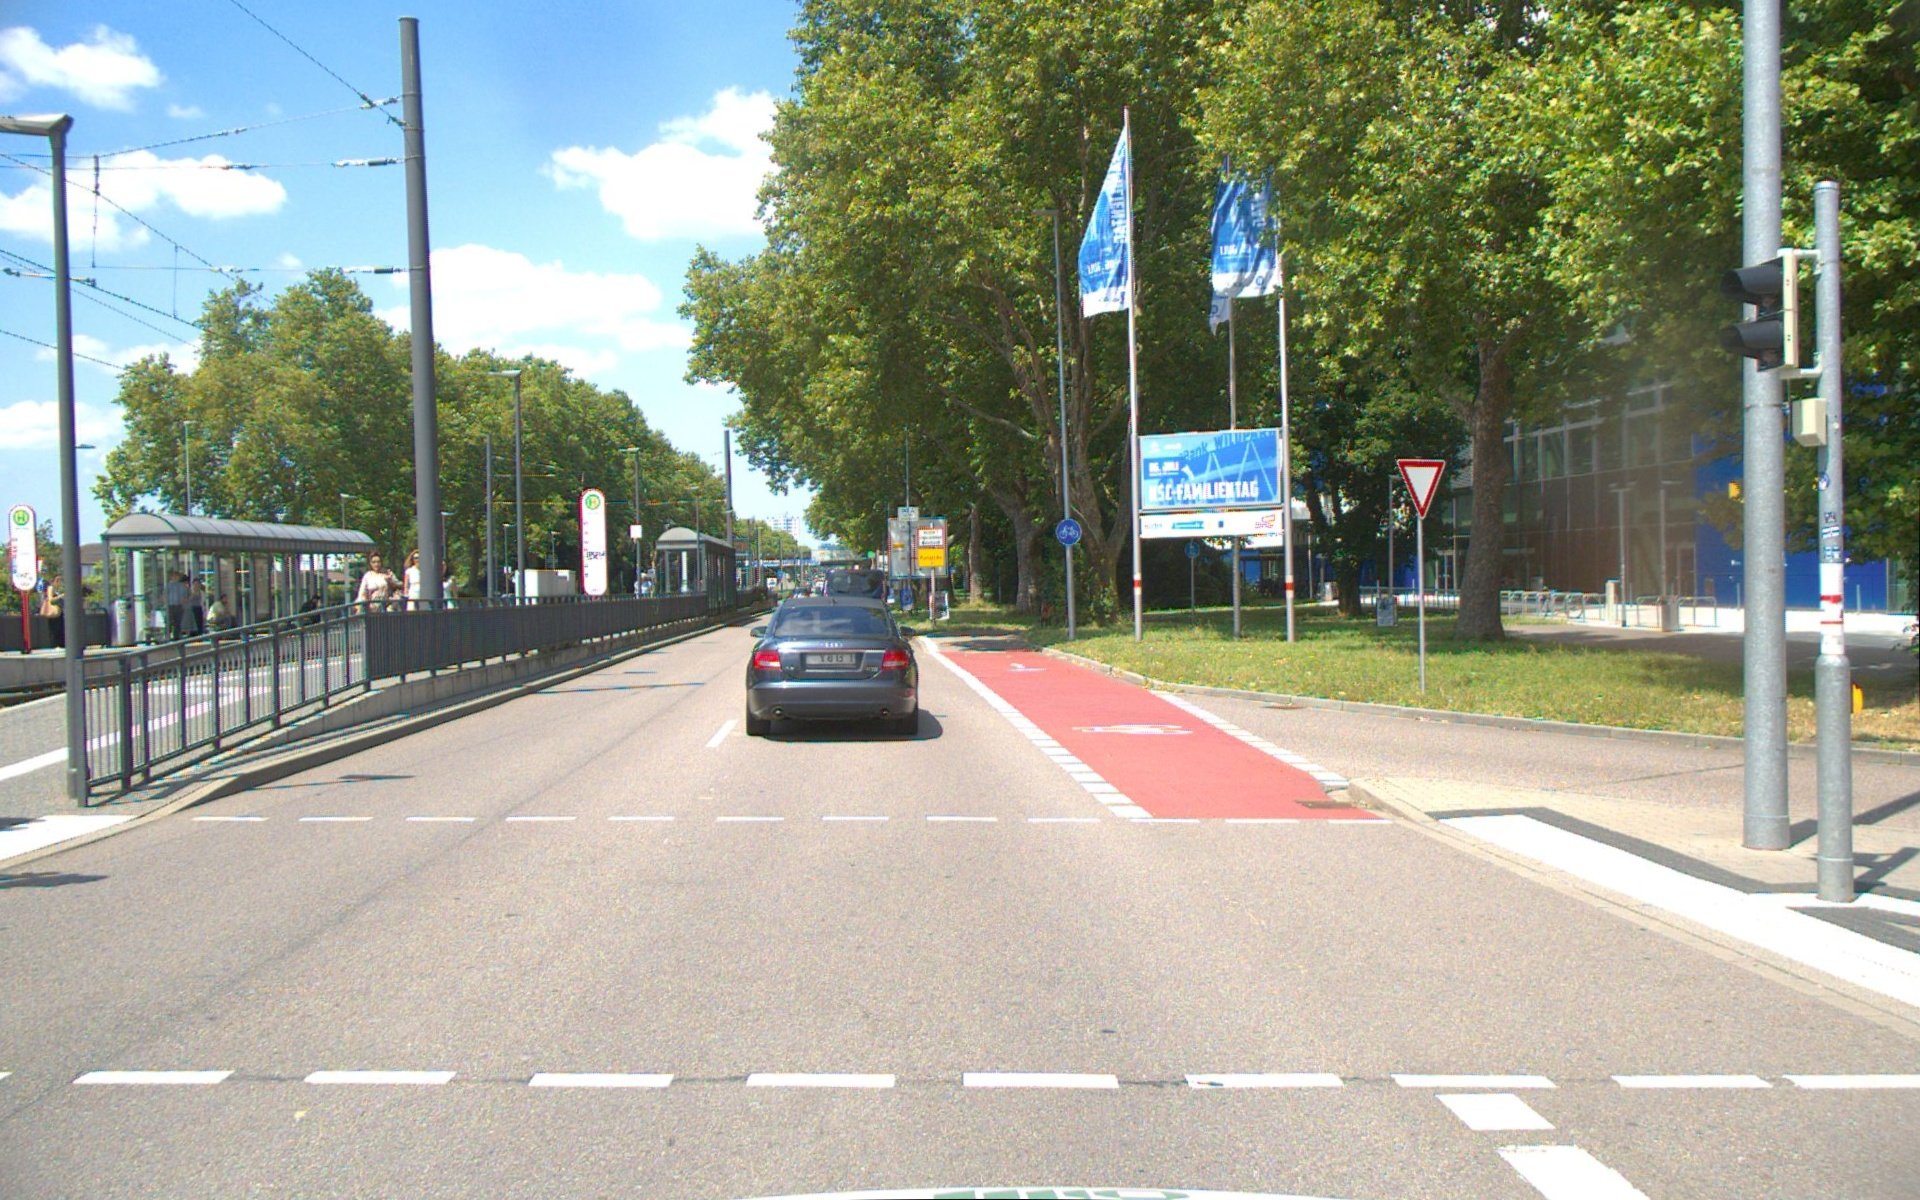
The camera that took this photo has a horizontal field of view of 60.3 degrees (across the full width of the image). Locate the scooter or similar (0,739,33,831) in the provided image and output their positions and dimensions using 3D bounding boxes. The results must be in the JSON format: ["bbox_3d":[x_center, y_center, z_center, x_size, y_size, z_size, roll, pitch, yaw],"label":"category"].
[{"bbox_3d":[-6.195,1.145,10.185,0.712,0.514,0.457,-1,1,-7],"label":"scooter or similar"}]

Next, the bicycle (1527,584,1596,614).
[{"bbox_3d":[20.369,-0.054,56.033,2.021,0.986,0.867,-1,0,-8],"label":"bicycle"}]

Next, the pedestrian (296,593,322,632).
[{"bbox_3d":[-20.615,0.381,52.348,0.565,1.211,0.638,-1,0,-3],"label":"pedestrian"}]

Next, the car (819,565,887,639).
[{"bbox_3d":[-3.001,0.045,47.107,1.811,1.994,4.143,0,0,-2],"label":"car"}]

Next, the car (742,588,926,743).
[{"bbox_3d":[-1.428,0.628,18.310,1.807,1.510,3.995,0,0,-6],"label":"car"}]

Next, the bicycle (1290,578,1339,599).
[{"bbox_3d":[19.503,-0.657,91.019,2.498,1.130,0.757,-1,0,-9],"label":"bicycle"}]

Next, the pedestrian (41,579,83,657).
[{"bbox_3d":[-19.272,0.377,35.500,0.547,1.666,0.804,-1,0,-11],"label":"pedestrian"}]

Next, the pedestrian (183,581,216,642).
[{"bbox_3d":[-19.736,0.283,42.933,0.565,1.560,0.638,-1,0,-3],"label":"pedestrian"}]

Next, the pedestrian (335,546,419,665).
[{"bbox_3d":[-8.173,0.067,23.224,0.873,1.633,0.923,-1,1,-5],"label":"pedestrian"}]

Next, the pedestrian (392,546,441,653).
[{"bbox_3d":[-8.835,-0.010,26.908,0.601,1.711,0.719,0,0,-6],"label":"pedestrian"}]

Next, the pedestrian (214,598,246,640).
[{"bbox_3d":[-19.782,0.509,44.815,0.565,1.114,0.638,-1,0,-3],"label":"pedestrian"}]

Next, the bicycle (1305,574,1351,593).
[{"bbox_3d":[19.792,-0.883,88.966,2.273,0.977,0.757,-1,0,-9],"label":"bicycle"}]

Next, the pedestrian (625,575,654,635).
[{"bbox_3d":[-9.195,0.127,47.422,0.718,1.694,0.741,-1,0,-5],"label":"pedestrian"}]

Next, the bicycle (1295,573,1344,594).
[{"bbox_3d":[19.551,-0.883,89.986,2.498,1.130,0.757,-1,0,-9],"label":"bicycle"}]

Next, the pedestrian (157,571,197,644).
[{"bbox_3d":[-19.283,0.180,40.747,0.723,1.759,0.577,-1,1,33],"label":"pedestrian"}]

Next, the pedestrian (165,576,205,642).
[{"bbox_3d":[-19.757,0.228,42.160,0.811,1.667,0.577,-1,1,33],"label":"pedestrian"}]

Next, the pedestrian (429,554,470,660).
[{"bbox_3d":[-7.887,0.106,25.561,0.487,1.605,0.556,-1,0,-5],"label":"pedestrian"}]
